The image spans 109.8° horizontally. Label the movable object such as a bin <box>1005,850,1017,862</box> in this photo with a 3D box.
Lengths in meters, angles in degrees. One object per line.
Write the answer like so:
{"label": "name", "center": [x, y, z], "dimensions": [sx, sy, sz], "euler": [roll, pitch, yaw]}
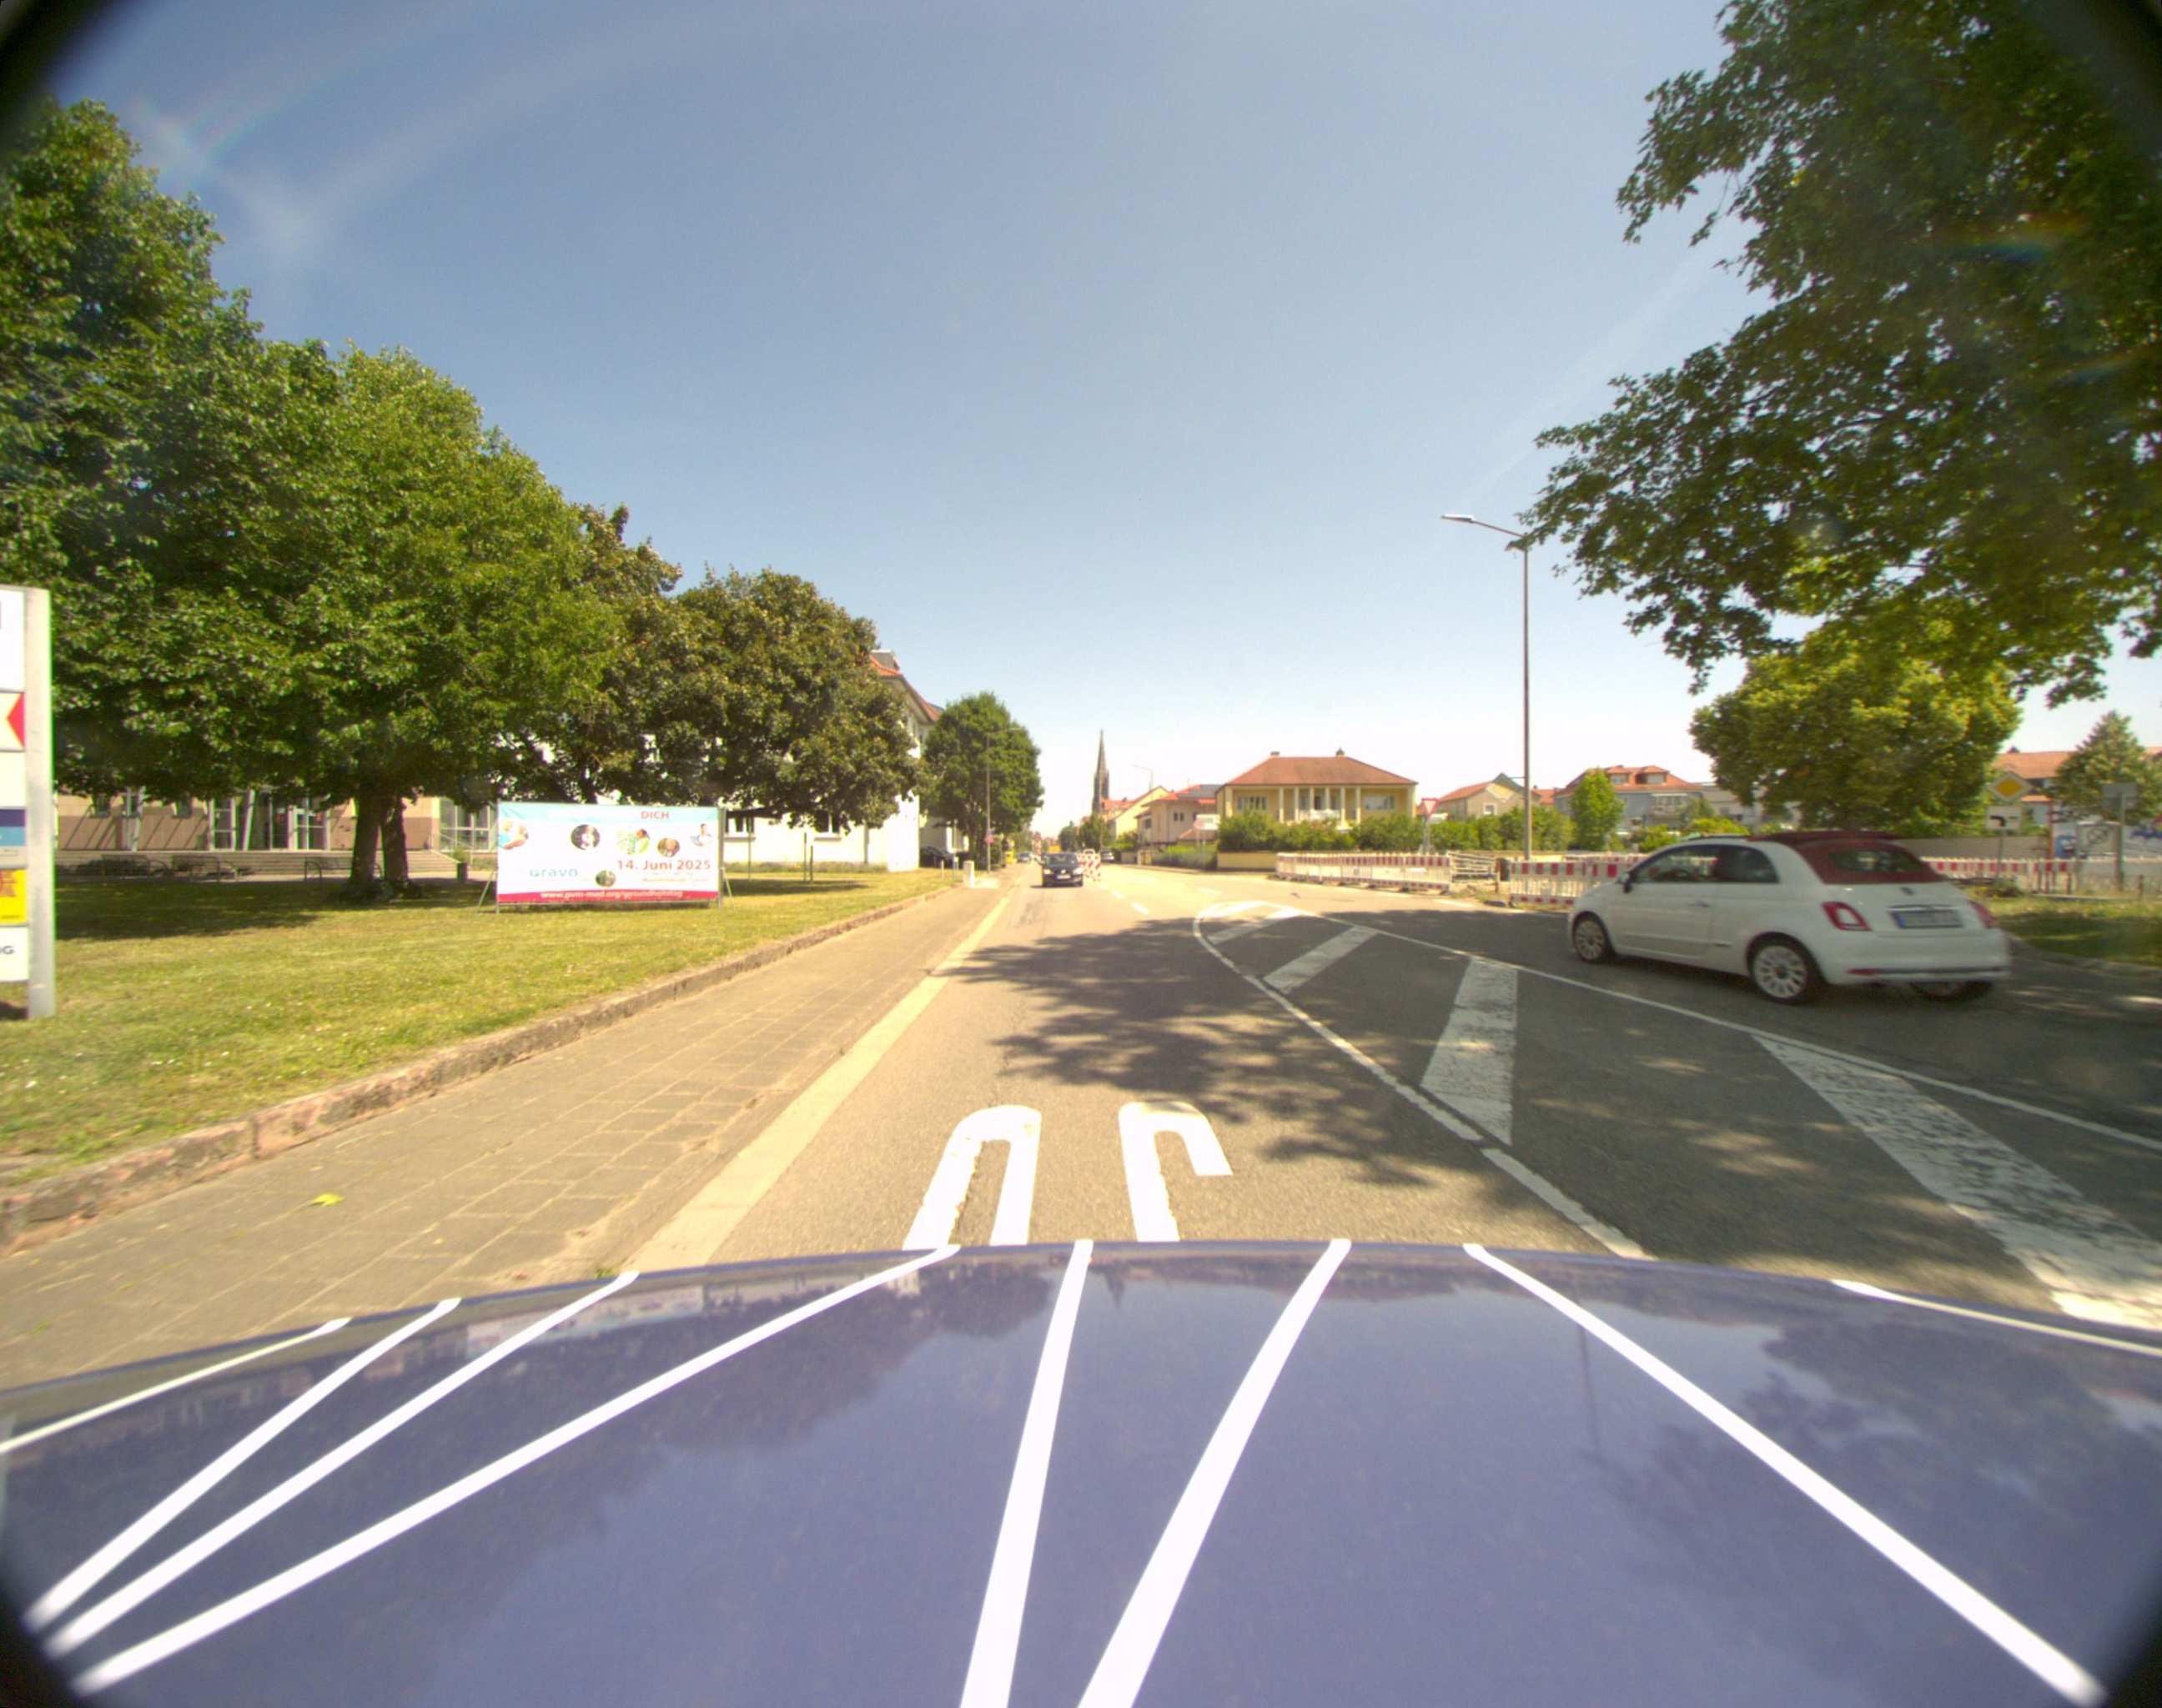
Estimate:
{"label": "movable object such as a bin", "center": [-8.599, 0.192, 93.289], "dimensions": [1.500, 1.472, 1.422], "euler": [0, 1, -5]}

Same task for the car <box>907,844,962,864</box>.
{"label": "car", "center": [-12.321, -0.038, 64.081], "dimensions": [4.369, 1.517, 1.999], "euler": [2, 0, -6]}

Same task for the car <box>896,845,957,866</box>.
{"label": "car", "center": [-11.757, 0.109, 58.061], "dimensions": [4.369, 1.427, 1.999], "euler": [2, 0, -6]}

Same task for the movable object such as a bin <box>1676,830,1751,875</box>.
{"label": "movable object such as a bin", "center": [40.028, -0.119, 48.220], "dimensions": [2.273, 2.719, 3.935], "euler": [1, 1, 17]}

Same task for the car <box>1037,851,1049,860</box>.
{"label": "car", "center": [-6.322, 0.211, 126.478], "dimensions": [1.712, 1.449, 3.561], "euler": [0, 0, -7]}

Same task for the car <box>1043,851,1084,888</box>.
{"label": "car", "center": [-0.746, 0.605, 32.076], "dimensions": [1.607, 1.436, 3.908], "euler": [-1, 0, -2]}

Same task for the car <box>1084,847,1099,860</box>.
{"label": "car", "center": [1.449, -0.065, 106.247], "dimensions": [1.719, 1.776, 3.888], "euler": [0, 0, -5]}

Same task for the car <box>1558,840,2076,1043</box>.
{"label": "car", "center": [6.736, 0.655, 7.541], "dimensions": [1.703, 1.501, 3.457], "euler": [-2, 1, -3]}

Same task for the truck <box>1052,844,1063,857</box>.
{"label": "truck", "center": [-5.411, -0.826, 171.162], "dimensions": [2.223, 2.921, 5.348], "euler": [0, 0, -5]}

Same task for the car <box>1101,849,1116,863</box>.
{"label": "car", "center": [3.114, 0.175, 86.202], "dimensions": [1.390, 1.568, 3.319], "euler": [0, 0, -5]}

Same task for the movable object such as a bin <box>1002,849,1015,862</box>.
{"label": "movable object such as a bin", "center": [-8.729, 0.193, 91.550], "dimensions": [1.500, 1.472, 1.422], "euler": [0, 1, -5]}

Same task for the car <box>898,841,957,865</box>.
{"label": "car", "center": [-12.231, -0.095, 60.812], "dimensions": [4.369, 1.776, 1.999], "euler": [2, 0, -6]}

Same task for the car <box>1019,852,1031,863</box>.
{"label": "car", "center": [-7.498, 0.443, 101.781], "dimensions": [1.608, 1.403, 3.907], "euler": [-1, 0, -4]}
